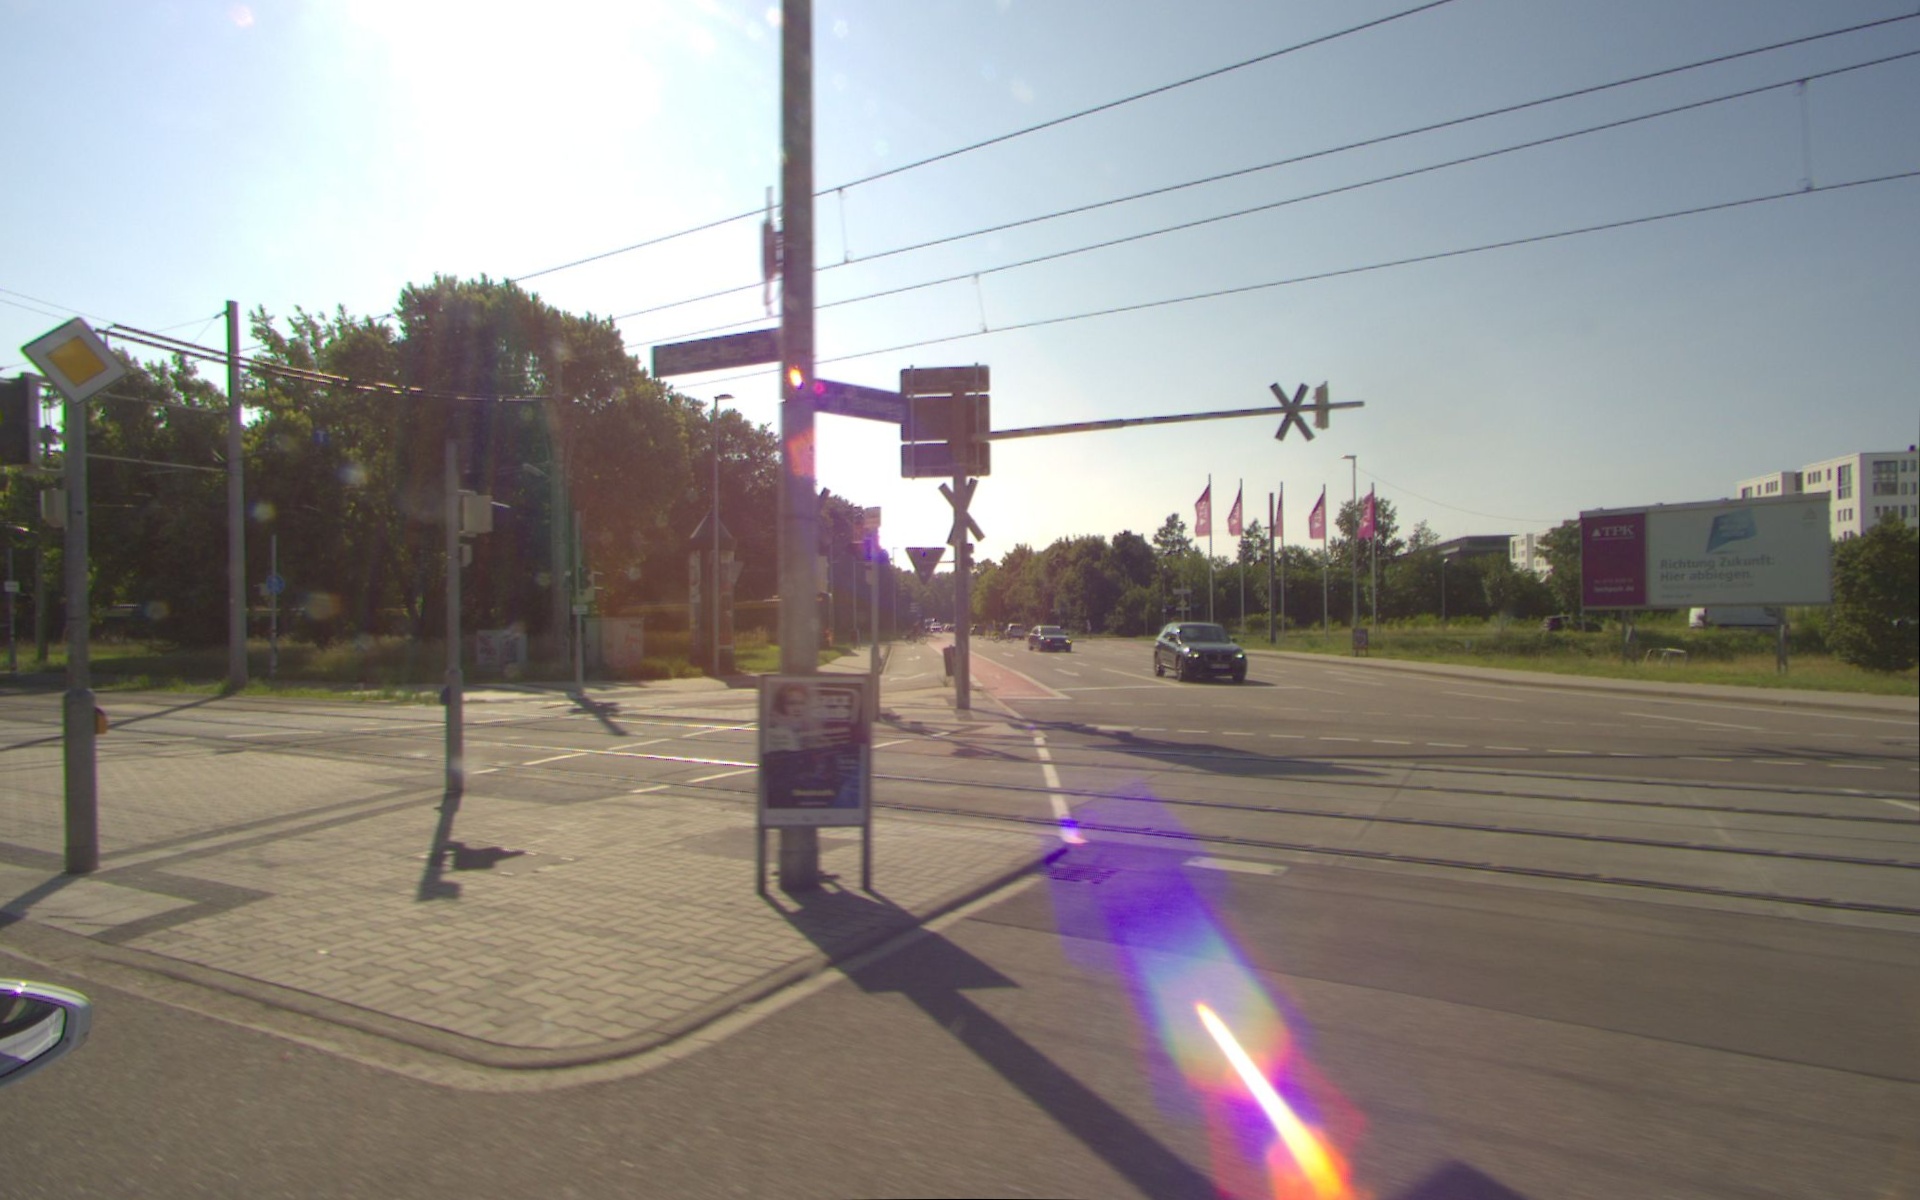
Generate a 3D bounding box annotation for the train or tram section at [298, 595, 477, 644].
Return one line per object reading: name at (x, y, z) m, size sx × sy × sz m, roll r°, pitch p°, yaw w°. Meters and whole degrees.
train or tram section at (-44.810, 1.528, 79.019) m, size 12.046 × 3.626 × 3.041 m, roll 0°, pitch -1°, yaw -28°

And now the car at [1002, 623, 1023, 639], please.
car at (5.367, 3.158, 102.267) m, size 1.820 × 1.583 × 4.205 m, roll 0°, pitch -1°, yaw -1°

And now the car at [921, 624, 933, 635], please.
car at (-6.315, 5.644, 191.400) m, size 1.961 × 2.039 × 4.001 m, roll 0°, pitch -2°, yaw -6°

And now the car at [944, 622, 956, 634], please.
car at (-1.689, 4.917, 176.489) m, size 1.961 × 2.039 × 4.002 m, roll 0°, pitch -2°, yaw -3°

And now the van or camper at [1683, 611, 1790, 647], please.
van or camper at (62.302, 2.351, 80.442) m, size 6.612 × 2.814 × 2.240 m, roll -1°, pitch -1°, yaw 6°

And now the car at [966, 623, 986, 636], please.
car at (1.982, 3.735, 127.994) m, size 1.962 × 1.626 × 3.999 m, roll 0°, pitch -1°, yaw -8°

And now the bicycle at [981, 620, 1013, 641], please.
bicycle at (3.041, 2.530, 83.069) m, size 2.565 × 1.735 × 0.794 m, roll 0°, pitch -1°, yaw 17°

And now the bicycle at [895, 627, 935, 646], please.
bicycle at (-3.656, 2.950, 81.159) m, size 3.166 × 1.472 × 1.131 m, roll -1°, pitch -1°, yaw 4°

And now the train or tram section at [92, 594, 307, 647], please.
train or tram section at (-55.035, 1.438, 73.106) m, size 12.271 × 3.626 × 3.036 m, roll 0°, pitch -1°, yaw -33°

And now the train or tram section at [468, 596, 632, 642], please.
train or tram section at (-33.319, 1.532, 81.836) m, size 11.996 × 3.626 × 3.053 m, roll 0°, pitch -1°, yaw -7°

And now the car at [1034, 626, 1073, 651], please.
car at (5.236, 2.147, 56.667) m, size 1.715 × 1.352 × 4.308 m, roll 0°, pitch -1°, yaw -1°

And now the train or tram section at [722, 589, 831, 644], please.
train or tram section at (-13.299, 1.211, 71.263) m, size 3.014 × 3.626 × 12.152 m, roll 0°, pitch -1°, yaw -34°

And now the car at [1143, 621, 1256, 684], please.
car at (6.761, 1.443, 28.834) m, size 2.004 × 1.583 × 4.862 m, roll 0°, pitch 0°, yaw -1°

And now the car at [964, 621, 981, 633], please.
car at (1.574, 3.487, 127.716) m, size 1.576 × 1.401 × 3.530 m, roll 1°, pitch -3°, yaw -8°

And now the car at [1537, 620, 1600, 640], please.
car at (49.665, 2.443, 81.842) m, size 3.922 × 1.617 × 2.000 m, roll 0°, pitch -1°, yaw 3°

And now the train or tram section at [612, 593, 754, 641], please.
train or tram section at (-22.053, 1.363, 79.221) m, size 12.040 × 3.626 × 3.042 m, roll -1°, pitch -1°, yaw 28°

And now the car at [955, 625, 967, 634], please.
car at (0.105, 4.380, 148.704) m, size 1.575 × 1.401 × 3.530 m, roll 0°, pitch -1°, yaw -3°

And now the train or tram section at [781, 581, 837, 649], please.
train or tram section at (-9.000, 0.918, 59.898) m, size 2.996 × 3.626 × 11.848 m, roll 0°, pitch -1°, yaw -8°

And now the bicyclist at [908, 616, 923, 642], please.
bicyclist at (-3.583, 2.356, 81.145) m, size 1.077 × 2.039 × 1.141 m, roll -1°, pitch -1°, yaw 4°
